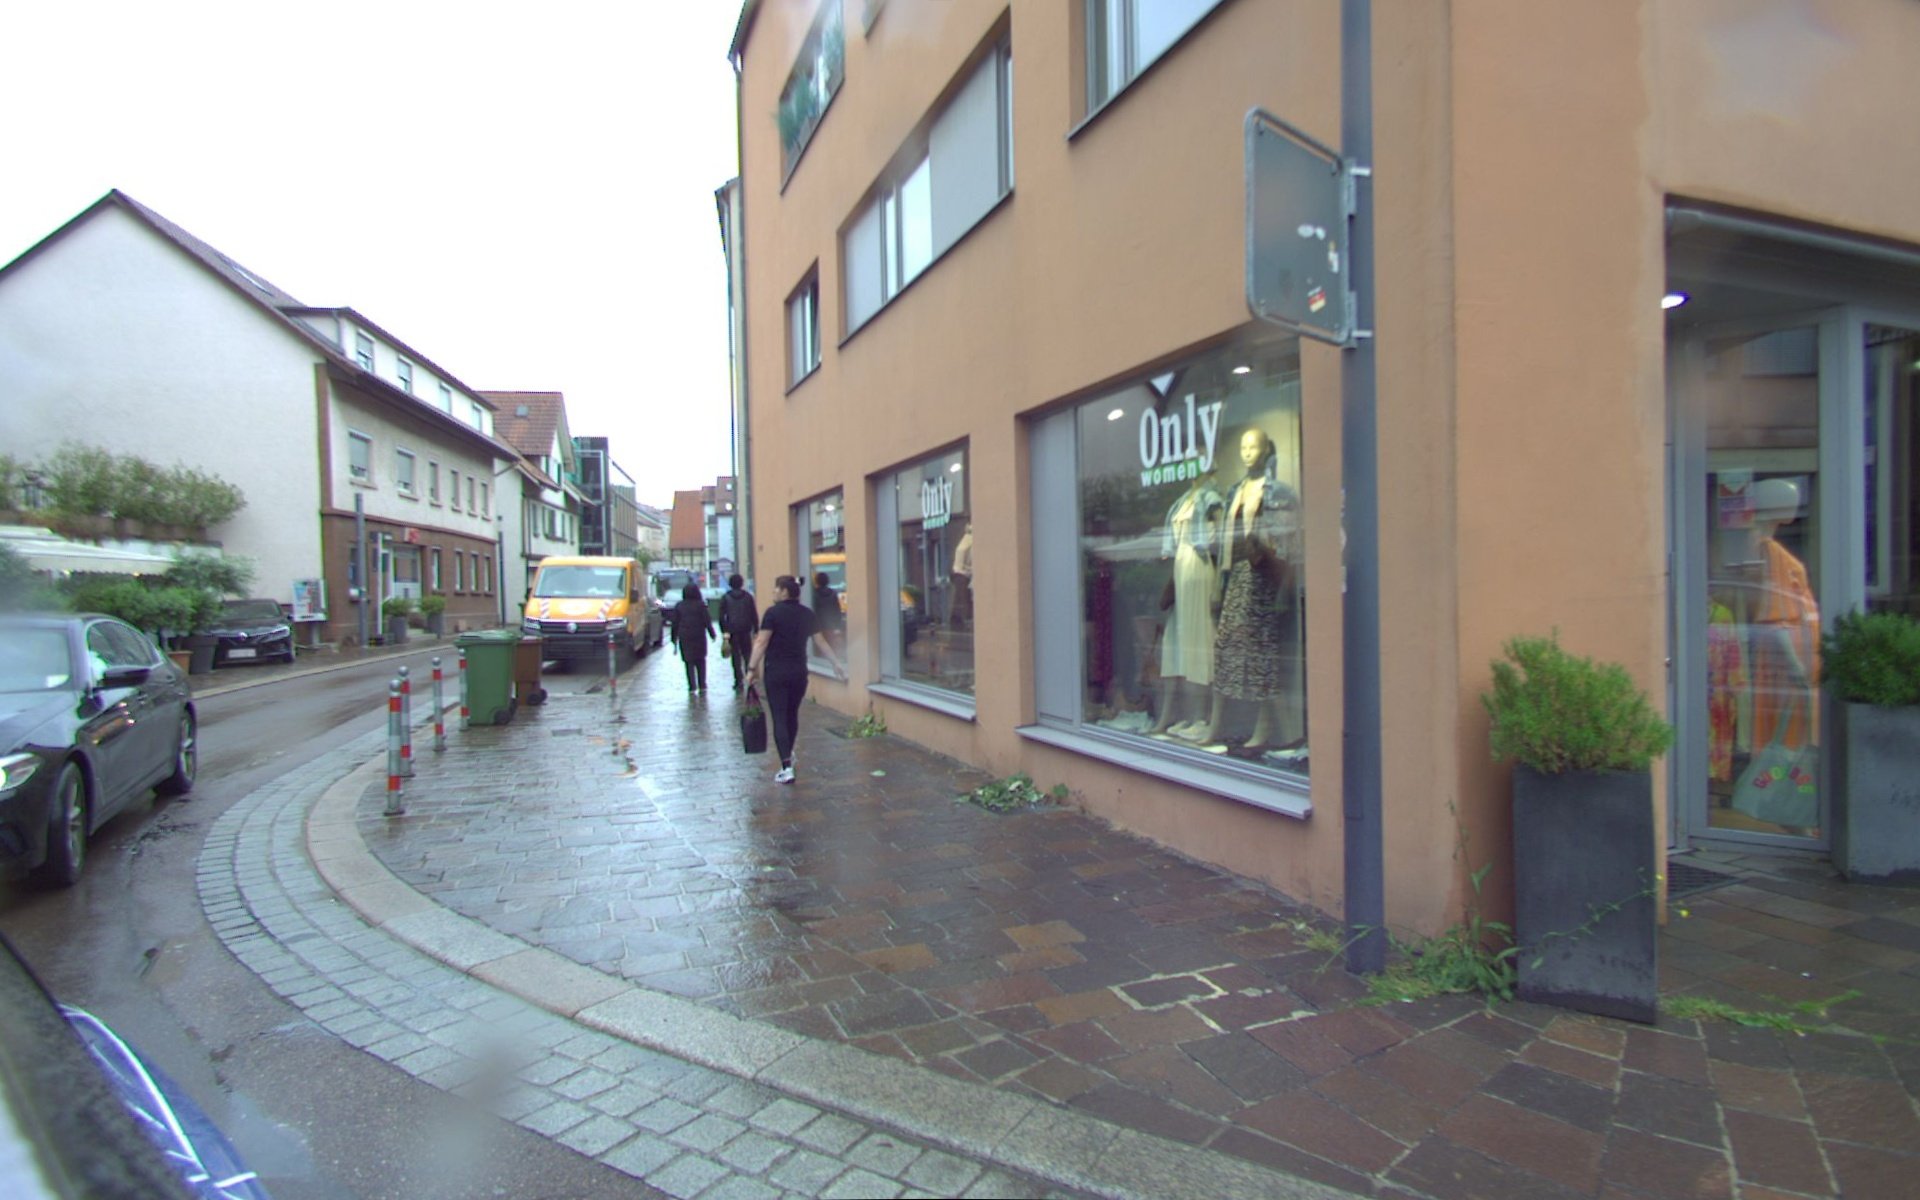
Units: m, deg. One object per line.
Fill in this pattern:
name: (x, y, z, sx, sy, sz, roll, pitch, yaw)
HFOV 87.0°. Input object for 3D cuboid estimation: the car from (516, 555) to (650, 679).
car: (-7.825, 0.289, 21.576, 1.967, 2.256, 5.877, -1, 1, -14)

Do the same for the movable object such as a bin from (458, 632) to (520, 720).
movable object such as a bin: (-5.931, 0.940, 12.762, 0.647, 1.044, 0.612, -1, 0, -21)

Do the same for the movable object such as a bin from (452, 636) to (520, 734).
movable object such as a bin: (-5.445, 0.959, 11.659, 0.647, 1.044, 0.612, -1, 1, -21)

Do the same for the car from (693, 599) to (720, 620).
car: (-17.317, 0.634, 69.300, 1.606, 1.377, 3.497, -2, 0, -11)

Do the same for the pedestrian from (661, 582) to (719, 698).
pedestrian: (-4.042, 0.573, 15.145, 0.705, 1.652, 0.748, -3, 1, -19)

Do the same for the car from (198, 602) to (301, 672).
car: (-15.706, 0.745, 22.454, 1.710, 1.367, 3.947, -1, 1, -34)

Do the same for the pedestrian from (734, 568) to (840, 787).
pedestrian: (-1.377, 0.577, 7.983, 0.650, 1.622, 0.686, -1, 0, -22)

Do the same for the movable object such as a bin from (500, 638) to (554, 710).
movable object such as a bin: (-5.956, 1.014, 13.947, 0.574, 0.934, 0.482, -1, 0, -11)

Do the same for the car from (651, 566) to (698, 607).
car: (-22.054, -0.941, 78.607, 2.668, 2.895, 8.863, -2, 0, -10)

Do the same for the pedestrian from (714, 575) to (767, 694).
pedestrian: (-3.345, 0.503, 15.380, 0.614, 1.725, 0.811, -3, 1, -19)

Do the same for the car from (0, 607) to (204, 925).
car: (-6.196, 0.793, 6.137, 1.915, 1.413, 4.434, -1, 1, -28)
